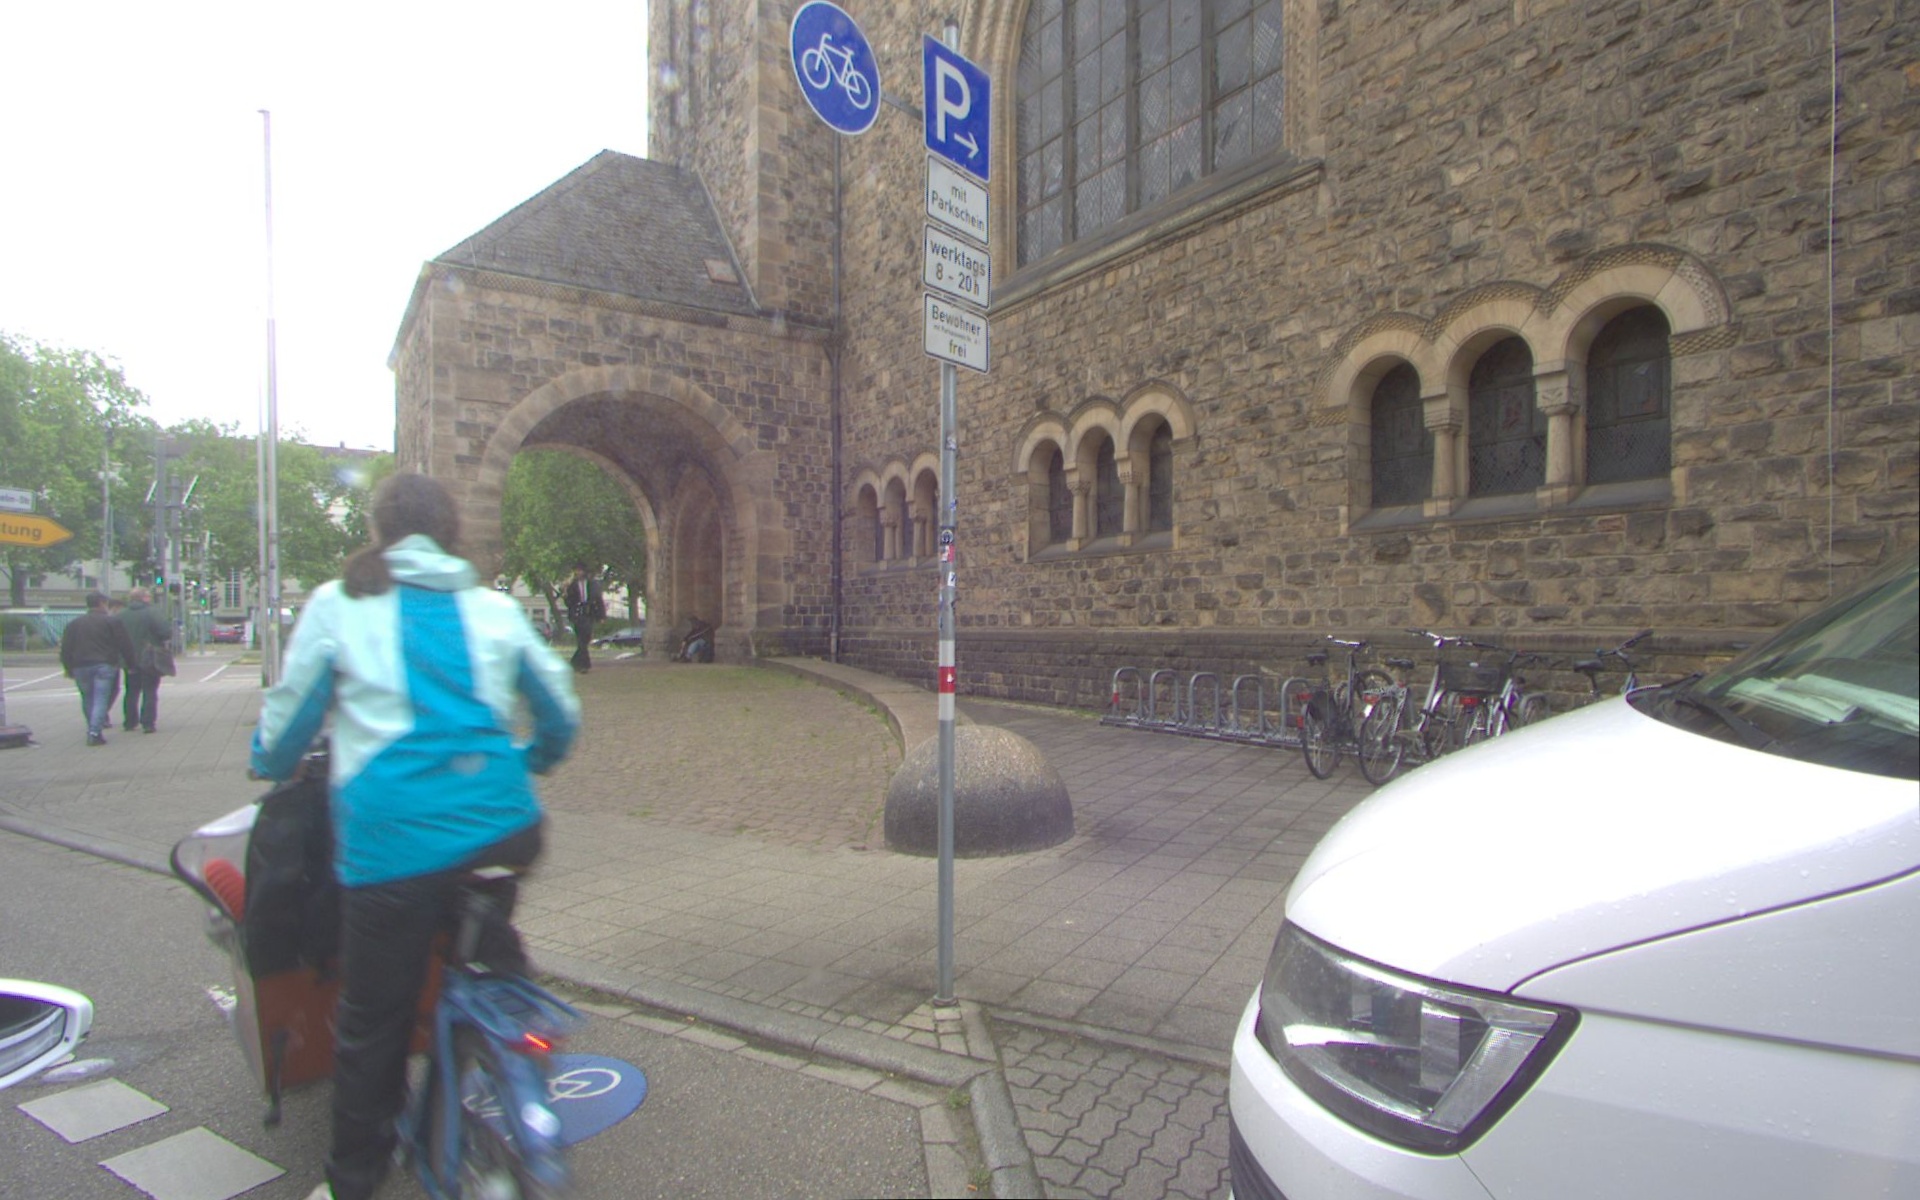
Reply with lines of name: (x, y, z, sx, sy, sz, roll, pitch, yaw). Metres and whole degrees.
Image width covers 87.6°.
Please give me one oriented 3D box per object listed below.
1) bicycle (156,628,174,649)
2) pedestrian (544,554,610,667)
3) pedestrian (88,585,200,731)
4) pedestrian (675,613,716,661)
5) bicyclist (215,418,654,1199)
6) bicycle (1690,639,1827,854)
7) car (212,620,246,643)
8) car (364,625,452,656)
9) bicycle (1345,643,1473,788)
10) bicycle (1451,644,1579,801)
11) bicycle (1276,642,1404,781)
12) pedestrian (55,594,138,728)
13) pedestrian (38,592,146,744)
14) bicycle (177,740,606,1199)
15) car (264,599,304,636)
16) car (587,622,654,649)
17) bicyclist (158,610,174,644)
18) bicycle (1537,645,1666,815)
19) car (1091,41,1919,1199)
bicycle: (-39.527, 1.912, 49.795, 0.546, 1.008, 2.047, 0, -1, -35)
pedestrian: (-6.434, 0.185, 16.813, 0.806, 1.832, 1.012, 0, 0, -37)
pedestrian: (-10.481, 0.709, 12.867, 0.955, 1.782, 0.802, 0, 2, 32)
pedestrian: (-5.453, 0.756, 20.643, 0.665, 0.964, 0.611, 0, -1, -36)
bicyclist: (-1.266, 0.469, 2.345, 0.681, 1.537, 1.049, 0, -1, -42)
bicycle: (4.820, 0.825, 6.021, 1.327, 1.161, 0.309, 1, -1, -36)
car: (-51.627, 2.206, 70.767, 1.647, 1.535, 3.916, 1, -1, -31)
car: (-29.325, 2.146, 53.245, 3.939, 1.581, 1.676, 1, -1, -35)
bicycle: (3.644, 0.896, 8.088, 1.366, 1.073, 0.309, 1, -1, -36)
bicycle: (4.195, 0.878, 7.535, 1.366, 1.073, 0.309, 1, -1, -36)
bicycle: (3.199, 0.897, 8.384, 1.366, 1.073, 0.309, 1, -1, -36)
pedestrian: (-11.447, 0.776, 13.268, 0.957, 1.696, 0.630, 0, 2, 39)
pedestrian: (-10.218, 0.765, 11.789, 0.955, 1.708, 0.673, 0, 2, 32)
bicycle: (-1.583, 1.030, 2.558, 0.490, 1.112, 2.119, 0, -1, -43)
car: (-50.451, 1.326, 74.836, 2.211, 2.673, 5.417, 1, -1, -31)
car: (-19.971, 2.072, 58.908, 3.423, 1.581, 1.676, 1, -1, -35)
bicyclist: (-39.481, 1.365, 49.798, 0.608, 1.675, 0.749, 0, -1, -36)
bicycle: (4.503, 0.863, 7.002, 1.327, 1.073, 0.309, 1, -1, -36)
car: (2.804, 0.465, 0.791, 5.088, 1.945, 1.802, -1, -1, 31)
